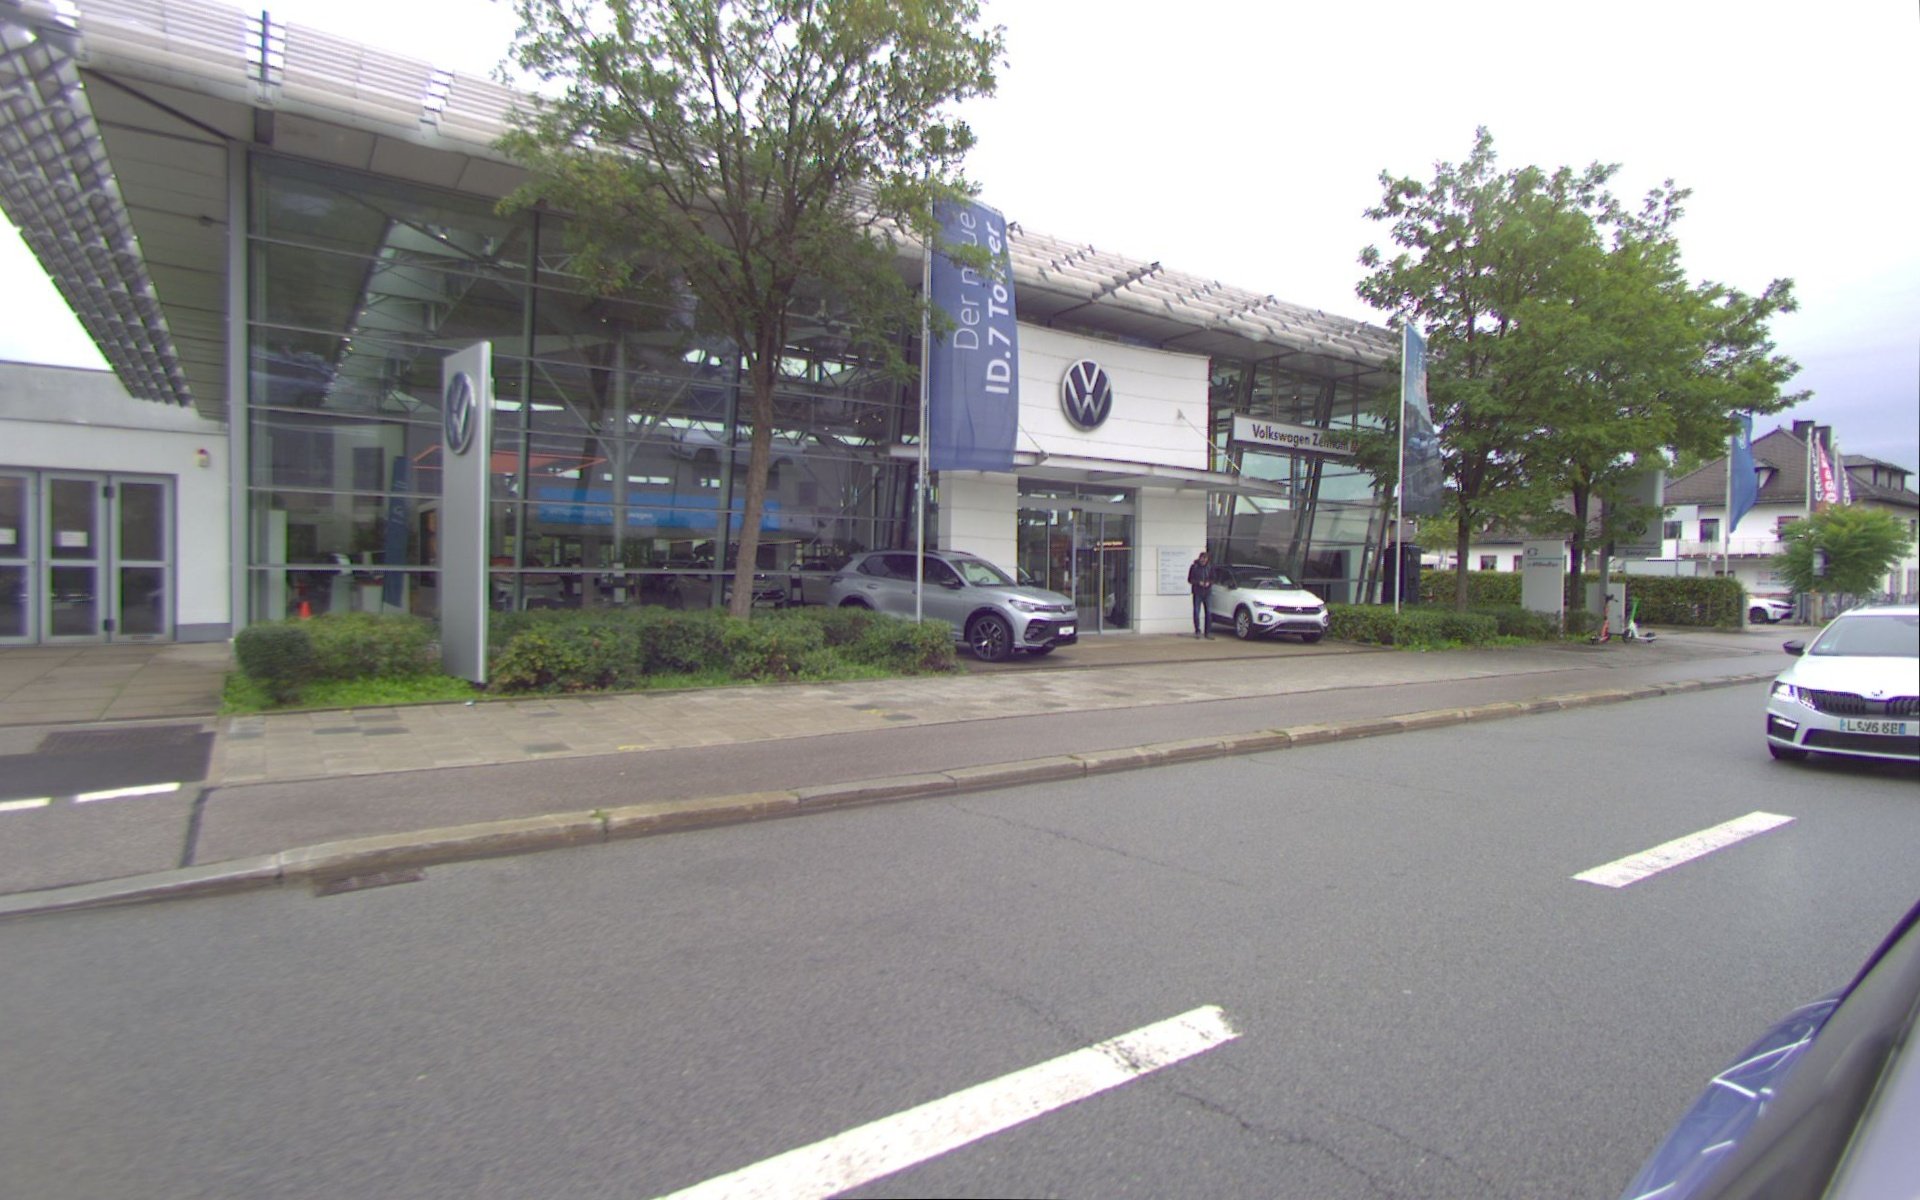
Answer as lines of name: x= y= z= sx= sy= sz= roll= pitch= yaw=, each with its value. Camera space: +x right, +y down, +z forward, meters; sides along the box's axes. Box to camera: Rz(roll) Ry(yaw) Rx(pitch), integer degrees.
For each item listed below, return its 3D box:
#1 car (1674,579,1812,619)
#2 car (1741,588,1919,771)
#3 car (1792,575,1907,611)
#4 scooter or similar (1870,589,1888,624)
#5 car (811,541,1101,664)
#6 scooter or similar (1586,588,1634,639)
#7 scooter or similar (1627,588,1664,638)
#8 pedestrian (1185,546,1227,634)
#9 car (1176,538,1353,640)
car: x=31.462 y=-0.087 z=40.765 sx=1.759 sy=1.478 sz=4.028 roll=0 pitch=2 yaw=-35
car: x=9.346 y=0.631 z=9.624 sx=4.472 sy=1.466 sz=1.915 roll=0 pitch=0 yaw=-37
car: x=45.408 y=-0.374 z=51.707 sx=1.891 sy=1.747 sz=4.108 roll=0 pitch=1 yaw=-37
scooter or similar: x=34.853 y=0.221 z=38.396 sx=0.396 sy=1.237 sz=1.616 roll=5 pitch=5 yaw=41
car: x=-0.149 y=-0.080 z=17.014 sx=4.574 sy=1.727 sz=1.984 roll=3 pitch=4 yaw=34
scooter or similar: x=16.154 y=0.325 z=25.143 sx=1.404 sy=1.219 sz=0.497 roll=1 pitch=4 yaw=-39
scooter or similar: x=17.934 y=0.336 z=26.472 sx=0.496 sy=1.219 sz=1.407 roll=5 pitch=5 yaw=44
pedestrian: x=5.123 y=-0.216 z=21.099 sx=0.793 sy=1.798 sz=0.714 roll=1 pitch=1 yaw=10
car: x=6.598 y=-0.342 z=22.504 sx=1.922 sy=2.038 sz=4.272 roll=0 pitch=3 yaw=-11
